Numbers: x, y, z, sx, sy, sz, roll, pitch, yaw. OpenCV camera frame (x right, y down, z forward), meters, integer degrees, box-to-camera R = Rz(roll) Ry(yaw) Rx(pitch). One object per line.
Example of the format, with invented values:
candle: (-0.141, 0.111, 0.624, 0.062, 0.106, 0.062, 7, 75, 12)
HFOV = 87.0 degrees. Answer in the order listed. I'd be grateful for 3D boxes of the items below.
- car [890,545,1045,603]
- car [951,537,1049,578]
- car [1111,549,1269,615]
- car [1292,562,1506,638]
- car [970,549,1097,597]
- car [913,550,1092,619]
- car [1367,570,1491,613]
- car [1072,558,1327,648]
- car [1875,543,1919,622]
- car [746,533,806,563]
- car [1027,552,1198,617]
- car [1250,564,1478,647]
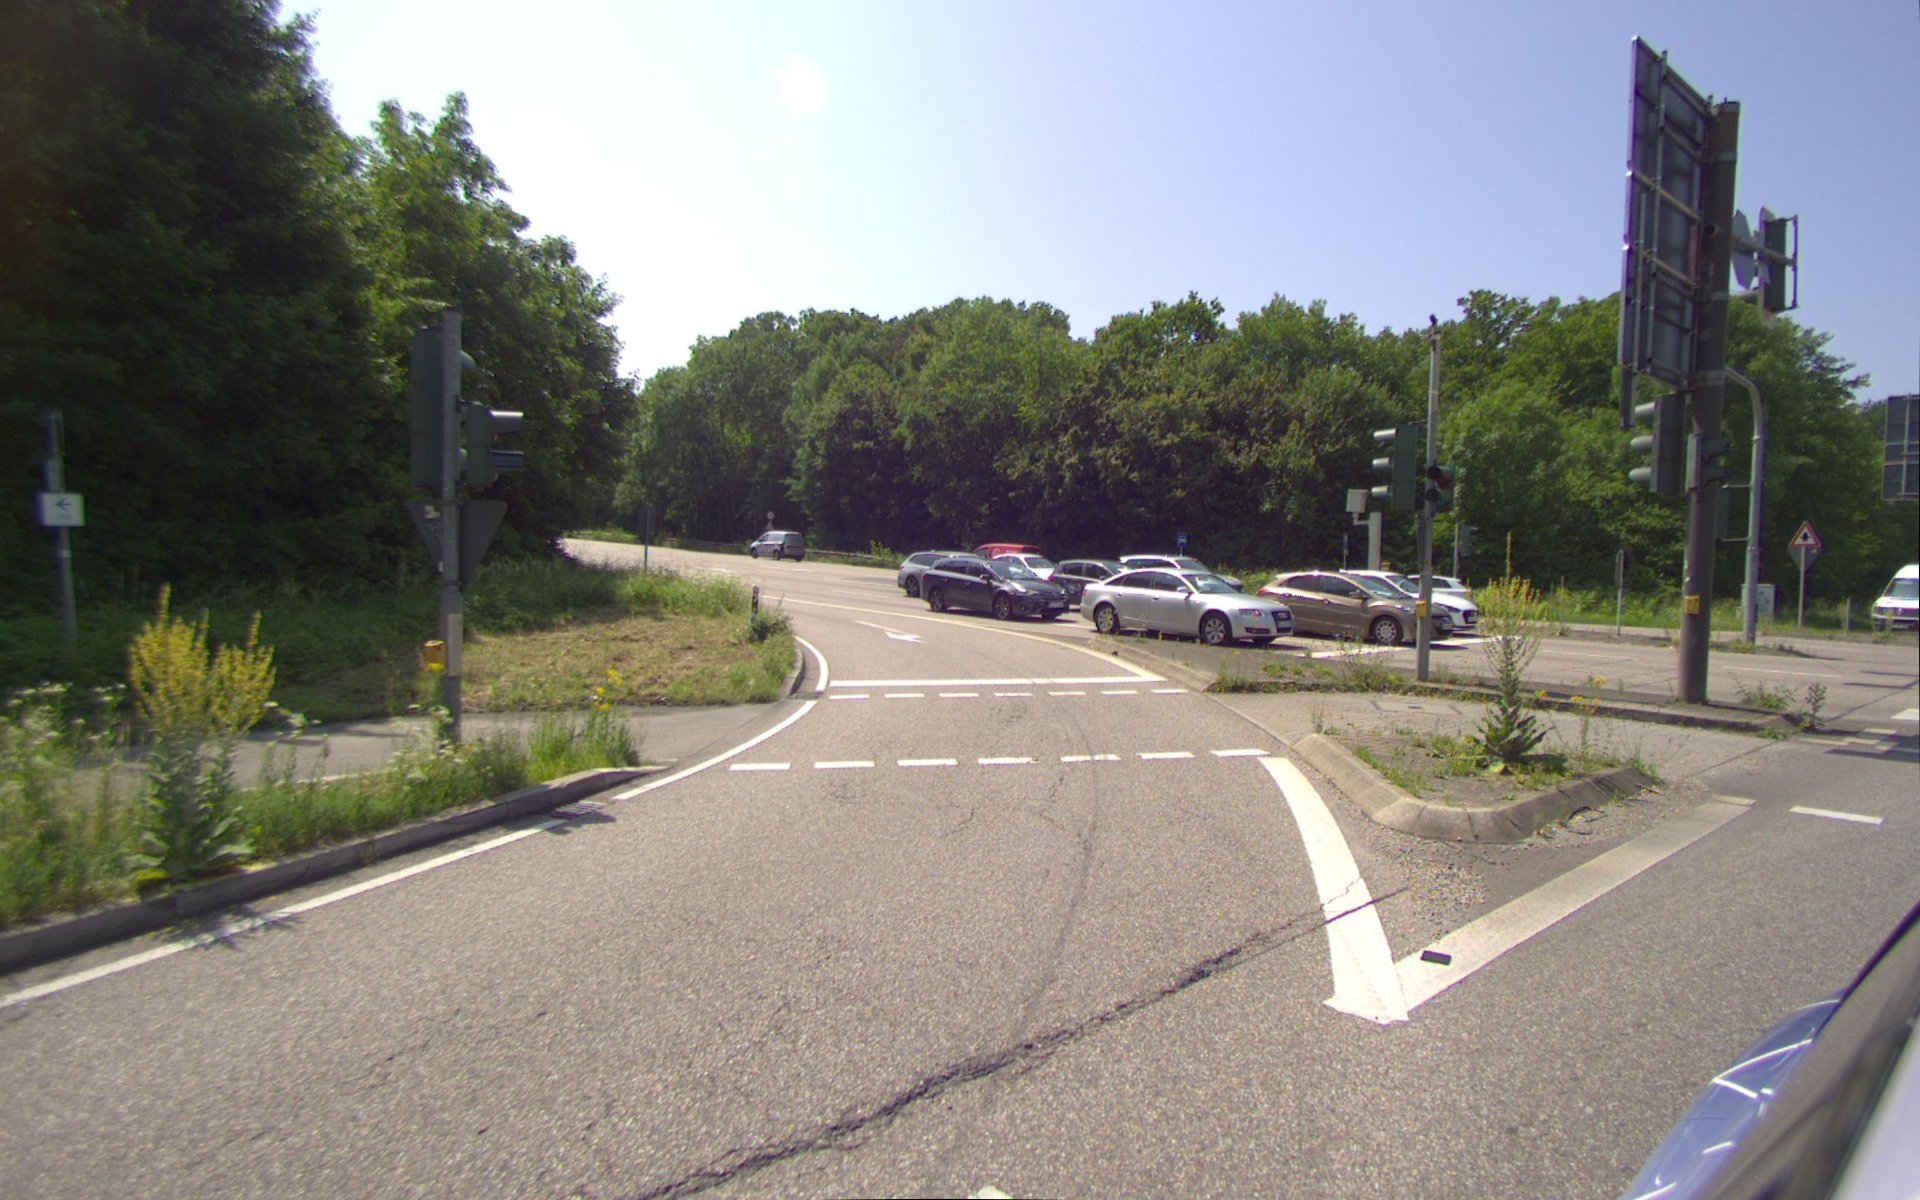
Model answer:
car: (0.145, -0.881, 31.981, 2.100, 1.552, 5.143, -1, 4, -39)
car: (1.843, -2.029, 48.068, 4.476, 1.845, 1.772, 3, 1, 40)
car: (6.685, -0.576, 29.793, 1.964, 1.679, 4.183, 0, 3, -39)
car: (10.787, -0.065, 25.144, 1.965, 1.554, 4.429, 0, 3, -41)
car: (2.496, -0.958, 35.185, 1.938, 1.431, 4.344, 0, 4, -38)
car: (1.010, -0.470, 26.228, 2.074, 1.516, 4.629, -1, 4, -39)
car: (16.739, -0.330, 36.276, 3.957, 1.453, 1.681, 1, 0, 24)
car: (4.791, -0.038, 20.939, 1.984, 1.516, 4.946, -1, 4, -38)
car: (35.343, -0.565, 35.968, 5.934, 2.678, 1.980, 1, 1, -25)
car: (-11.509, -3.243, 63.196, 1.732, 1.795, 4.105, 1, 1, -42)
car: (4.146, -0.494, 28.142, 2.085, 1.553, 4.431, -1, 4, -39)
car: (8.608, 0.044, 21.821, 1.961, 1.464, 4.100, 0, 4, -41)
